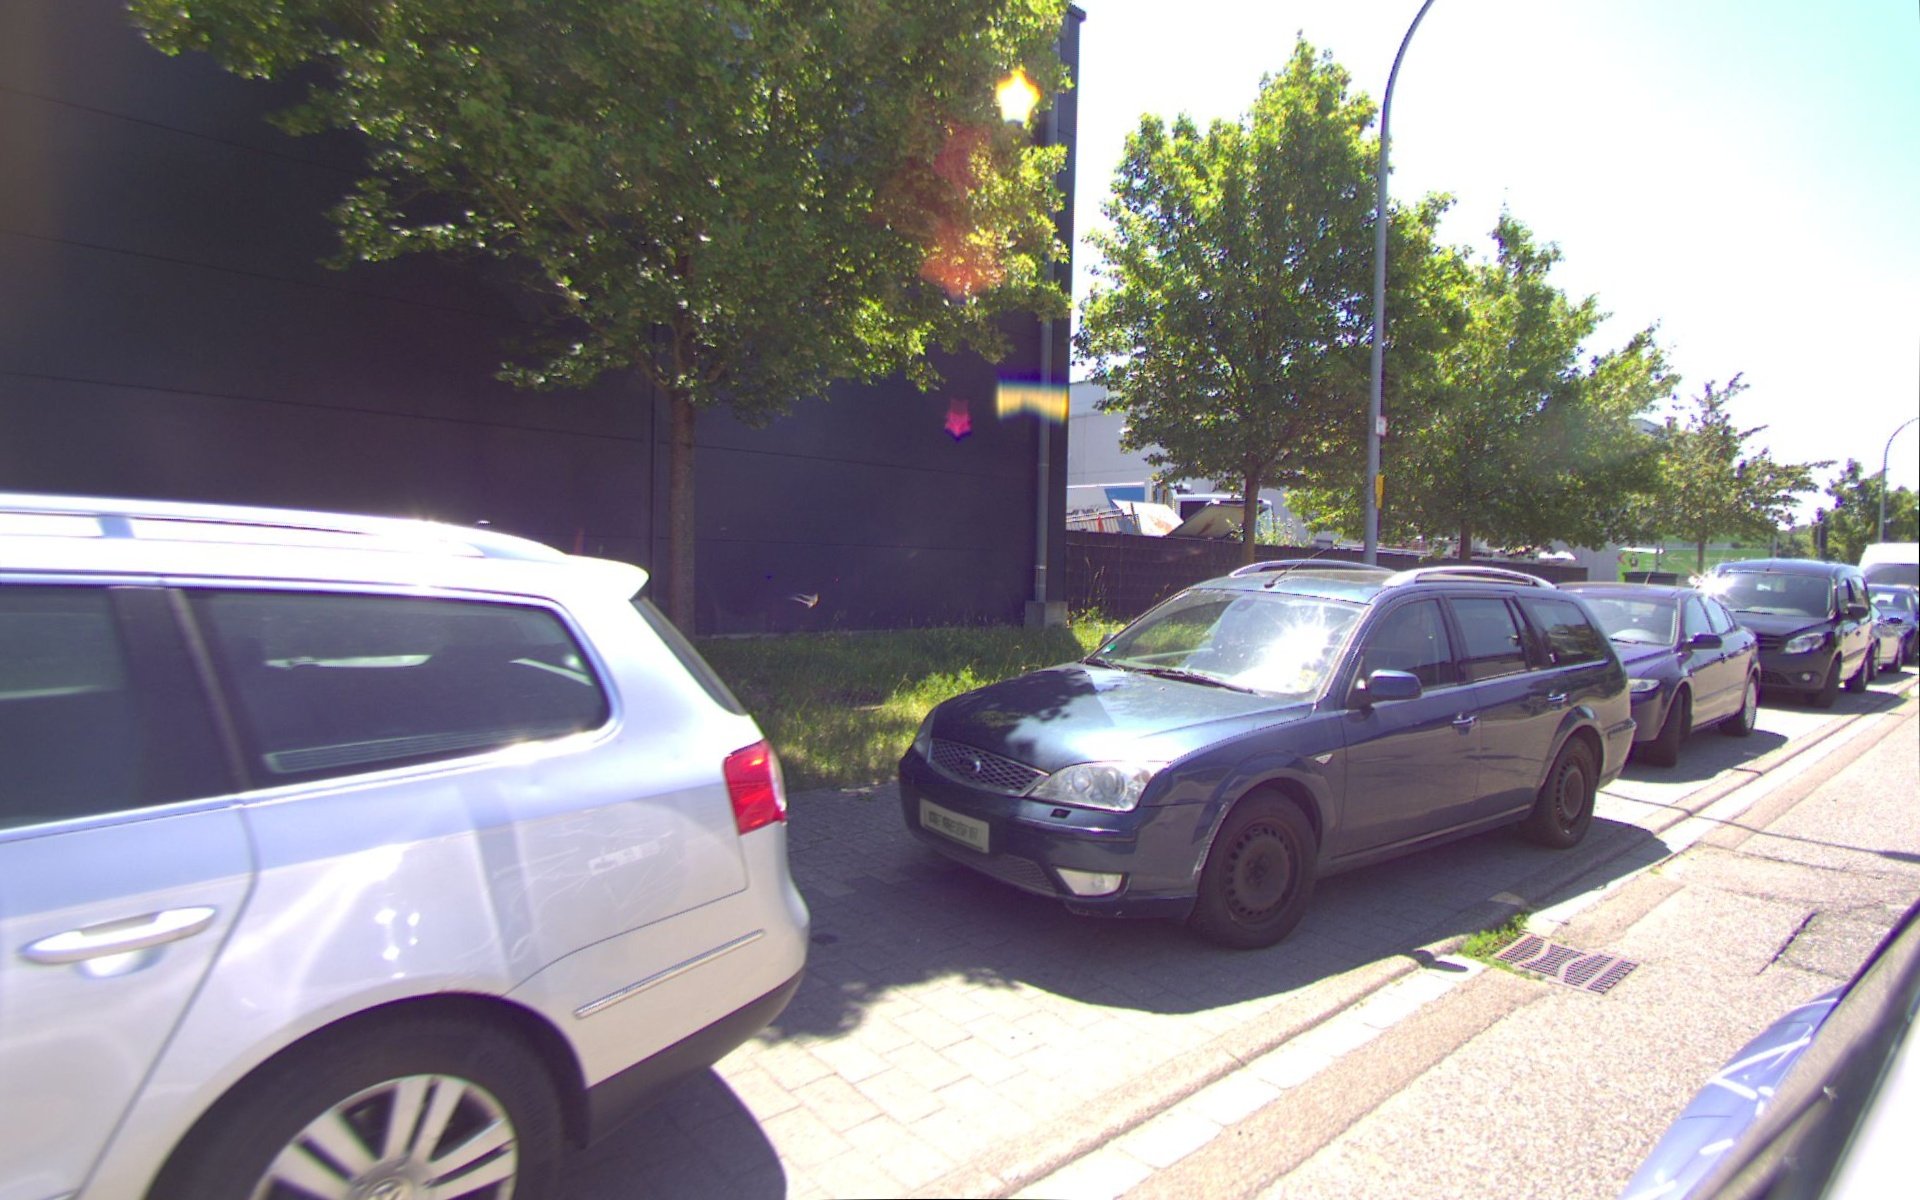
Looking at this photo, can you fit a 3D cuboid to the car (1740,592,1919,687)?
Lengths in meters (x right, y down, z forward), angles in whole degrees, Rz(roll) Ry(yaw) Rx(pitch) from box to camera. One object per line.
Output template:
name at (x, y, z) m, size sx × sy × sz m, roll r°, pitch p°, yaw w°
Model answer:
car at (14.729, 0.572, 16.980) m, size 4.042 × 1.303 × 1.715 m, roll -1°, pitch 3°, yaw -40°

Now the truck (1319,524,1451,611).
truck at (20.278, -1.600, 48.471) m, size 2.755 × 3.923 × 5.073 m, roll -1°, pitch 2°, yaw -40°

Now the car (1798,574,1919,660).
car at (18.718, 0.315, 20.503) m, size 4.397 × 1.512 × 1.833 m, roll 1°, pitch 2°, yaw -40°

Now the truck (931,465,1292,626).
truck at (3.952, -1.581, 28.806) m, size 9.964 × 3.869 × 2.995 m, roll 4°, pitch 3°, yaw 39°

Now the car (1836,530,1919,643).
car at (23.520, -0.316, 24.628) m, size 6.041 × 2.528 × 2.273 m, roll 0°, pitch 3°, yaw -40°

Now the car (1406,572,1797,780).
car at (6.190, 0.513, 9.513) m, size 4.631 × 1.448 × 1.854 m, roll -1°, pitch 3°, yaw -41°

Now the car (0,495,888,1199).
car at (-2.421, 0.610, 1.584) m, size 4.427 × 1.581 × 1.752 m, roll -1°, pitch 3°, yaw -41°

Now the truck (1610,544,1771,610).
truck at (34.934, -1.144, 48.577) m, size 2.373 × 2.949 × 5.832 m, roll 0°, pitch 2°, yaw -41°

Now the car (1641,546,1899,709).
car at (11.031, 0.259, 13.678) m, size 4.279 × 1.847 × 1.997 m, roll -1°, pitch 3°, yaw -42°

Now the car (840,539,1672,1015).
car at (1.822, 0.519, 5.293) m, size 4.618 × 1.523 × 1.715 m, roll 0°, pitch 3°, yaw -37°
